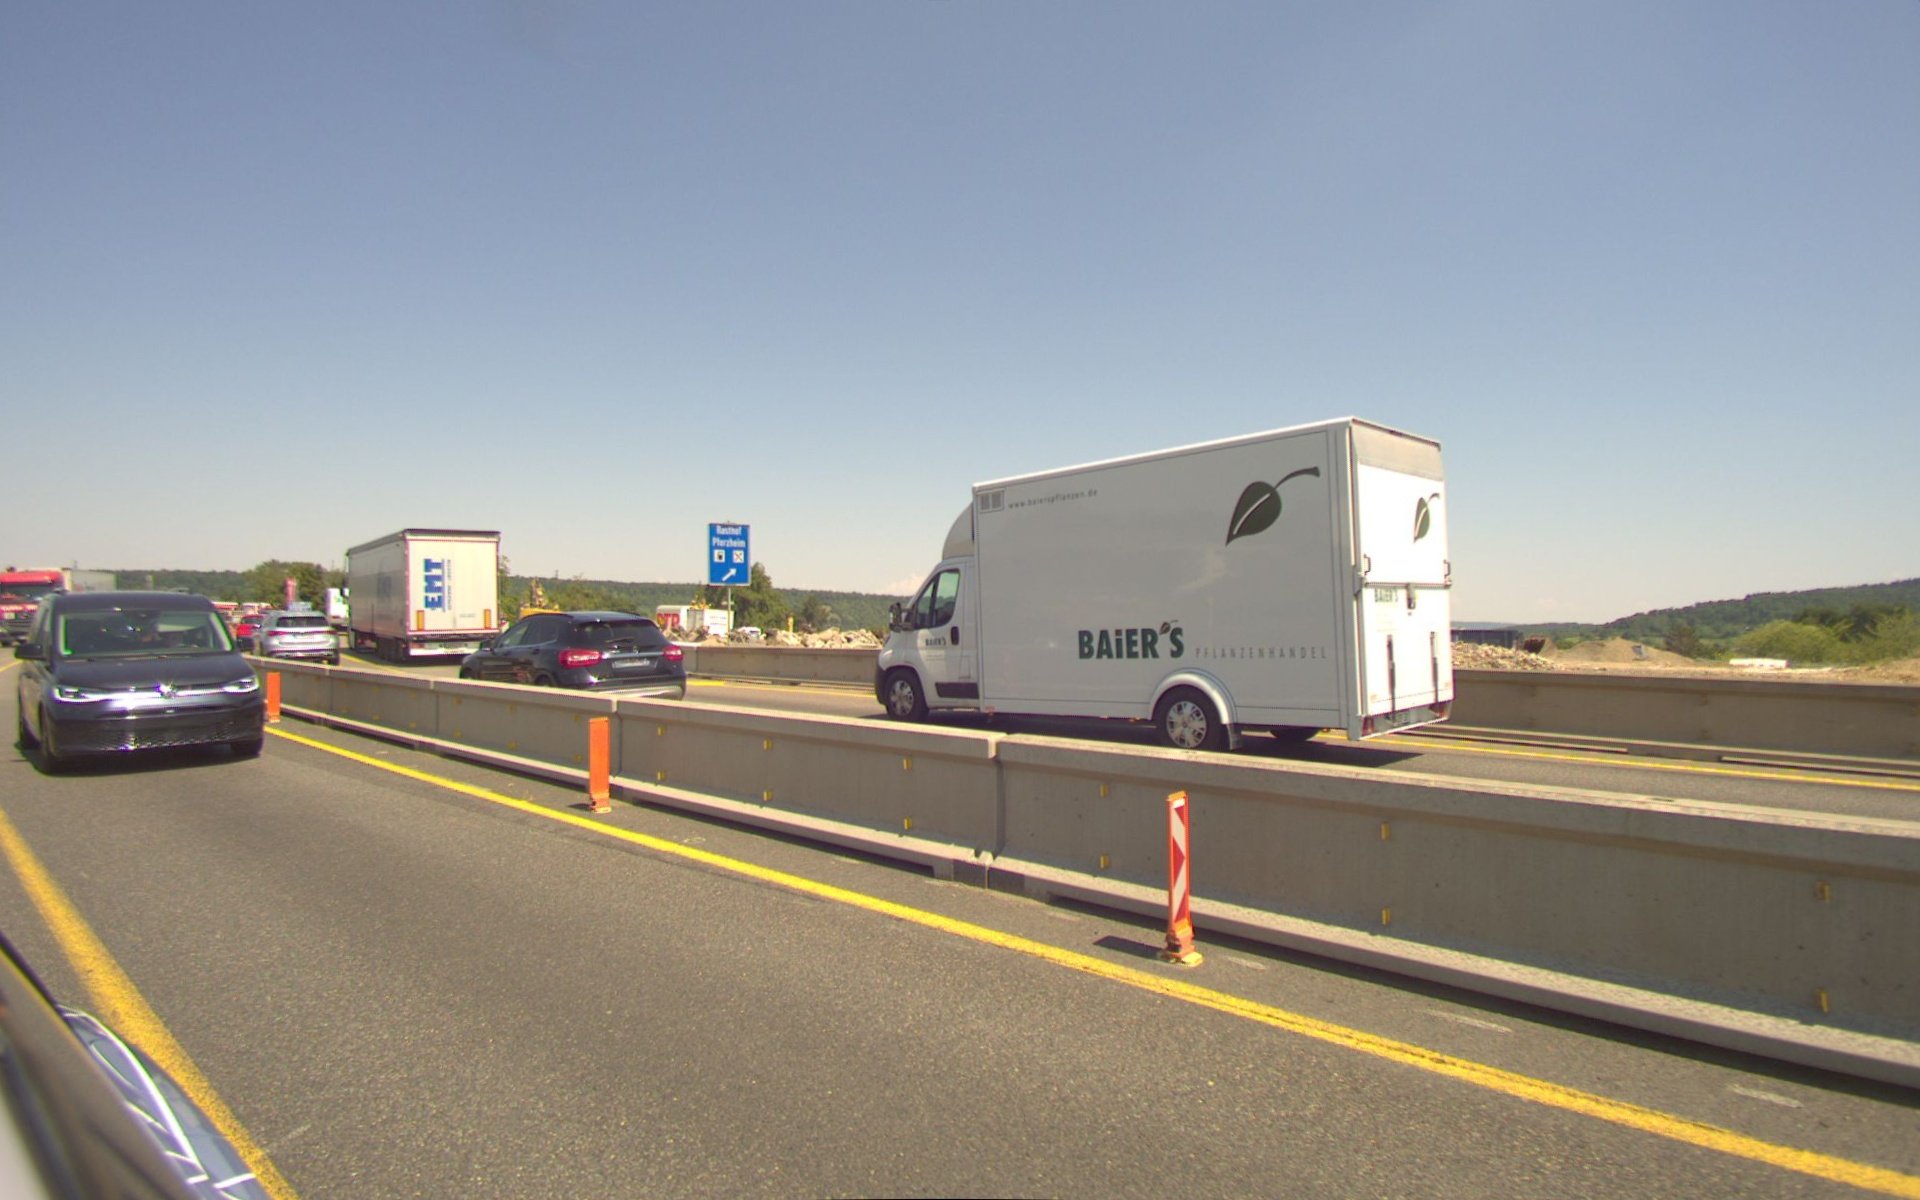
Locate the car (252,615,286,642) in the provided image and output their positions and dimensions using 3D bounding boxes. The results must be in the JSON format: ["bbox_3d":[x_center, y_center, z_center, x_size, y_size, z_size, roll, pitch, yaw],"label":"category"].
[{"bbox_3d":[-42.834,1.765,62.775,1.637,1.617,4.408,1,-2,-33],"label":"car"}]

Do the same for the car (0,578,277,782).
[{"bbox_3d":[-9.292,0.735,11.261,4.604,1.803,1.899,-1,-1,44],"label":"car"}]

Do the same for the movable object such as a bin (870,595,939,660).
[{"bbox_3d":[-2.882,1.386,51.656,1.965,3.165,4.291,1,-2,-26],"label":"movable object such as a bin"}]

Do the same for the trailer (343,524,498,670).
[{"bbox_3d":[-19.038,0.070,35.029,2.723,4.146,14.009,1,-2,-36],"label":"trailer"}]

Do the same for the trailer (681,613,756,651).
[{"bbox_3d":[-20.083,2.627,84.253,2.879,3.020,5.510,-1,-2,38],"label":"trailer"}]

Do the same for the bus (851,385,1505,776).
[{"bbox_3d":[1.904,-0.082,11.551,2.322,3.149,7.234,1,-2,-44],"label":"bus"}]

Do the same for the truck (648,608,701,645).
[{"bbox_3d":[-24.487,2.279,86.887,4.259,3.066,2.318,-1,-2,38],"label":"truck"}]

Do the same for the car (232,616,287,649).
[{"bbox_3d":[-32.901,1.512,47.609,1.645,1.487,3.983,1,-2,-28],"label":"car"}]

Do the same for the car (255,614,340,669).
[{"bbox_3d":[-19.592,1.184,29.841,1.772,1.487,4.787,1,-2,-37],"label":"car"}]

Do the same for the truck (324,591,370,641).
[{"bbox_3d":[-40.359,1.070,66.557,2.408,3.095,7.268,1,-2,-32],"label":"truck"}]

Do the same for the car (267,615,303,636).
[{"bbox_3d":[-63.763,2.414,95.576,4.893,1.968,1.845,-1,-2,44],"label":"car"}]

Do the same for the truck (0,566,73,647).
[{"bbox_3d":[-47.355,0.361,51.595,2.585,3.933,4.946,1,-2,-35],"label":"truck"}]

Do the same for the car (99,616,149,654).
[{"bbox_3d":[-41.759,1.723,50.627,1.771,1.800,4.008,1,-2,-37],"label":"car"}]

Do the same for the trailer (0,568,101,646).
[{"bbox_3d":[-50.668,0.504,56.601,2.658,3.904,12.454,1,-2,-34],"label":"trailer"}]

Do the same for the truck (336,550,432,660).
[{"bbox_3d":[-23.178,0.254,40.617,2.666,4.093,5.513,1,-2,-36],"label":"truck"}]

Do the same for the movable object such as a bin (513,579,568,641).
[{"bbox_3d":[-31.569,0.830,75.885,2.883,4.362,9.355,1,-2,-28],"label":"movable object such as a bin"}]

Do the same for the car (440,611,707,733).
[{"bbox_3d":[-5.489,0.900,14.066,4.400,1.425,1.788,-1,-2,44],"label":"car"}]
